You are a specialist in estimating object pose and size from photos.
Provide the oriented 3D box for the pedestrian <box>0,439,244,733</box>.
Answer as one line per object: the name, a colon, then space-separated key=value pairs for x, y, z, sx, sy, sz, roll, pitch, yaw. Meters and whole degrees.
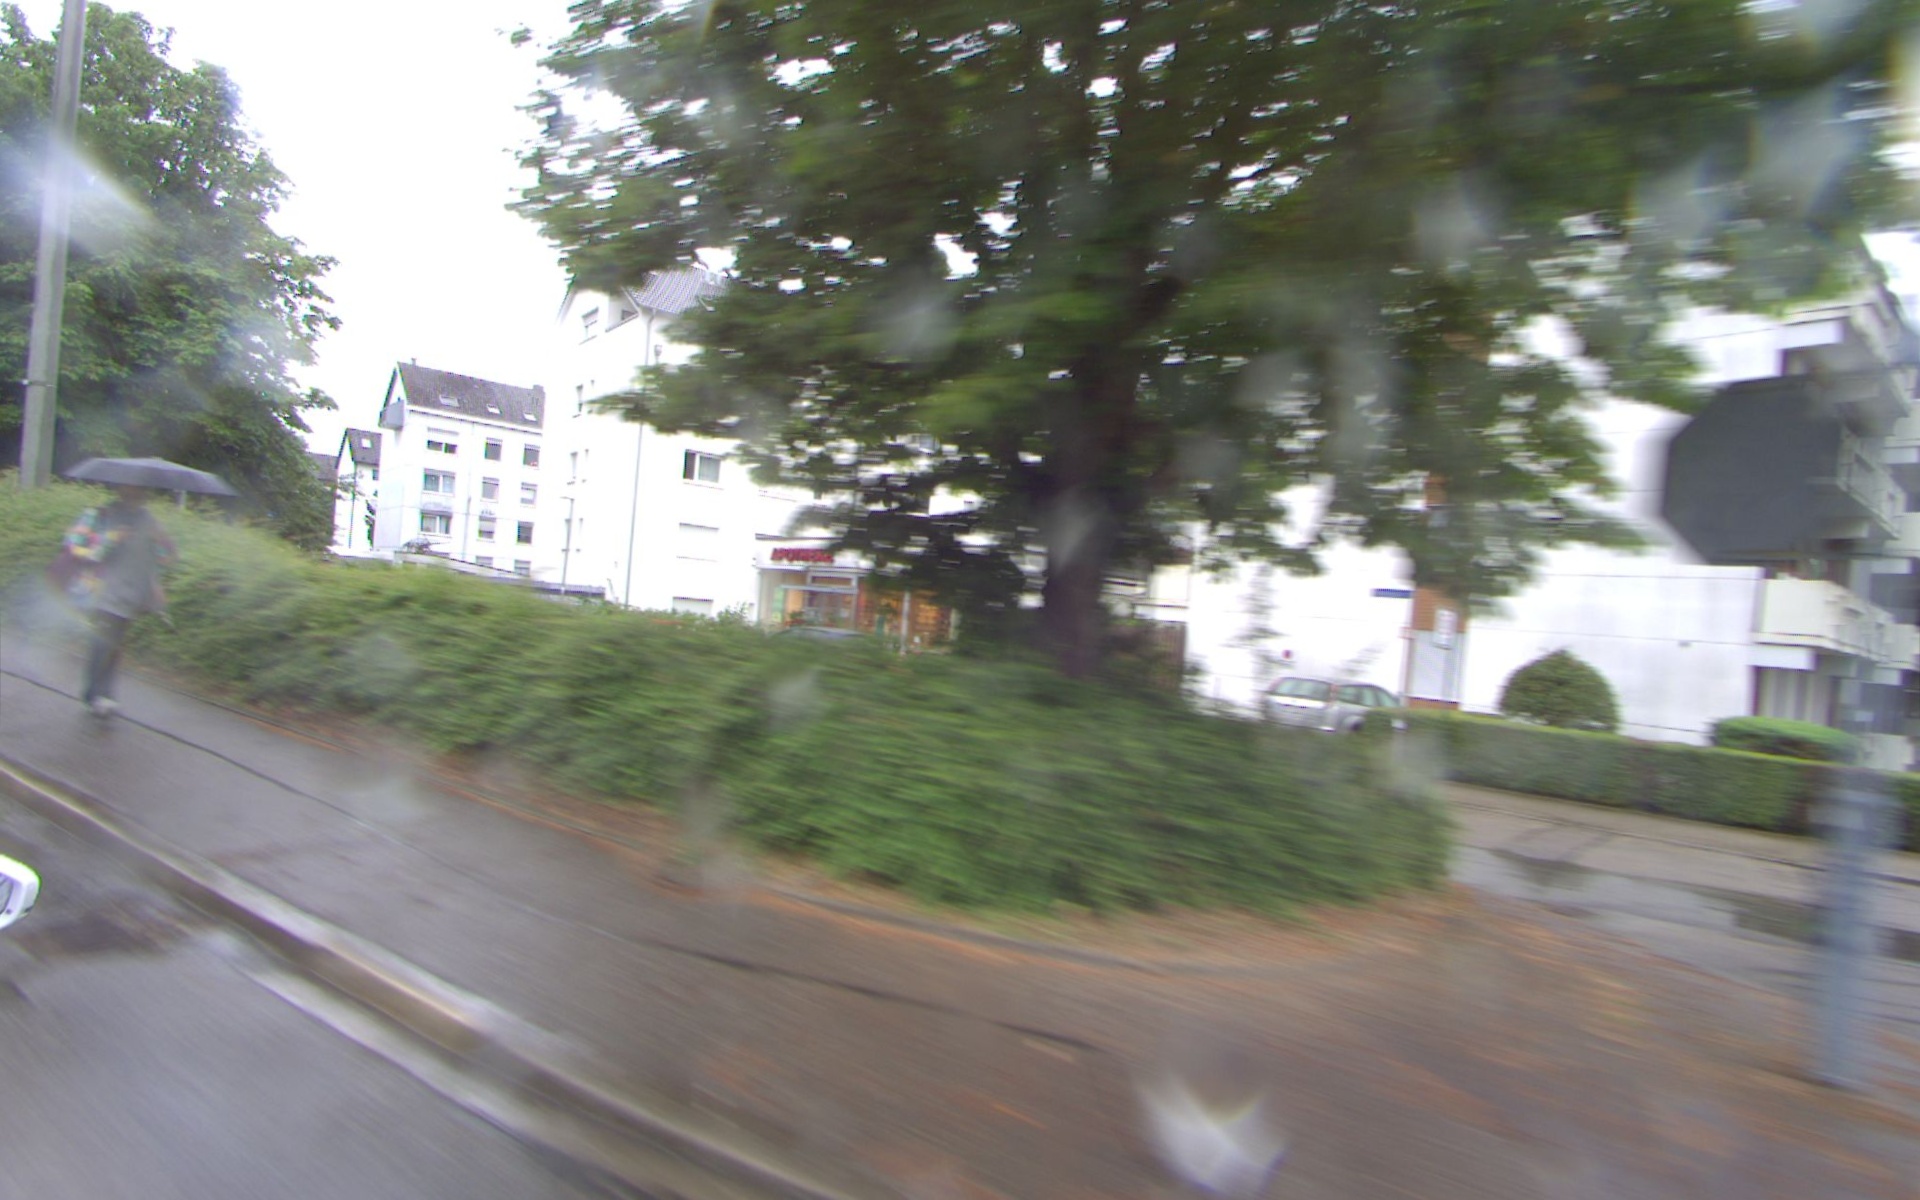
pedestrian: x=-5.440 y=-0.102 z=6.500 sx=1.040 sy=1.697 sz=0.920 roll=7 pitch=2 yaw=32

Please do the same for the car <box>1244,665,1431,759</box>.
car: x=7.598 y=2.243 z=20.072 sx=3.975 sy=1.479 sz=1.840 roll=7 pitch=0 yaw=-44

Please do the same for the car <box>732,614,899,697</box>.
car: x=-3.432 y=1.298 z=23.775 sx=3.552 sy=1.456 sz=1.690 roll=7 pitch=0 yaw=32
